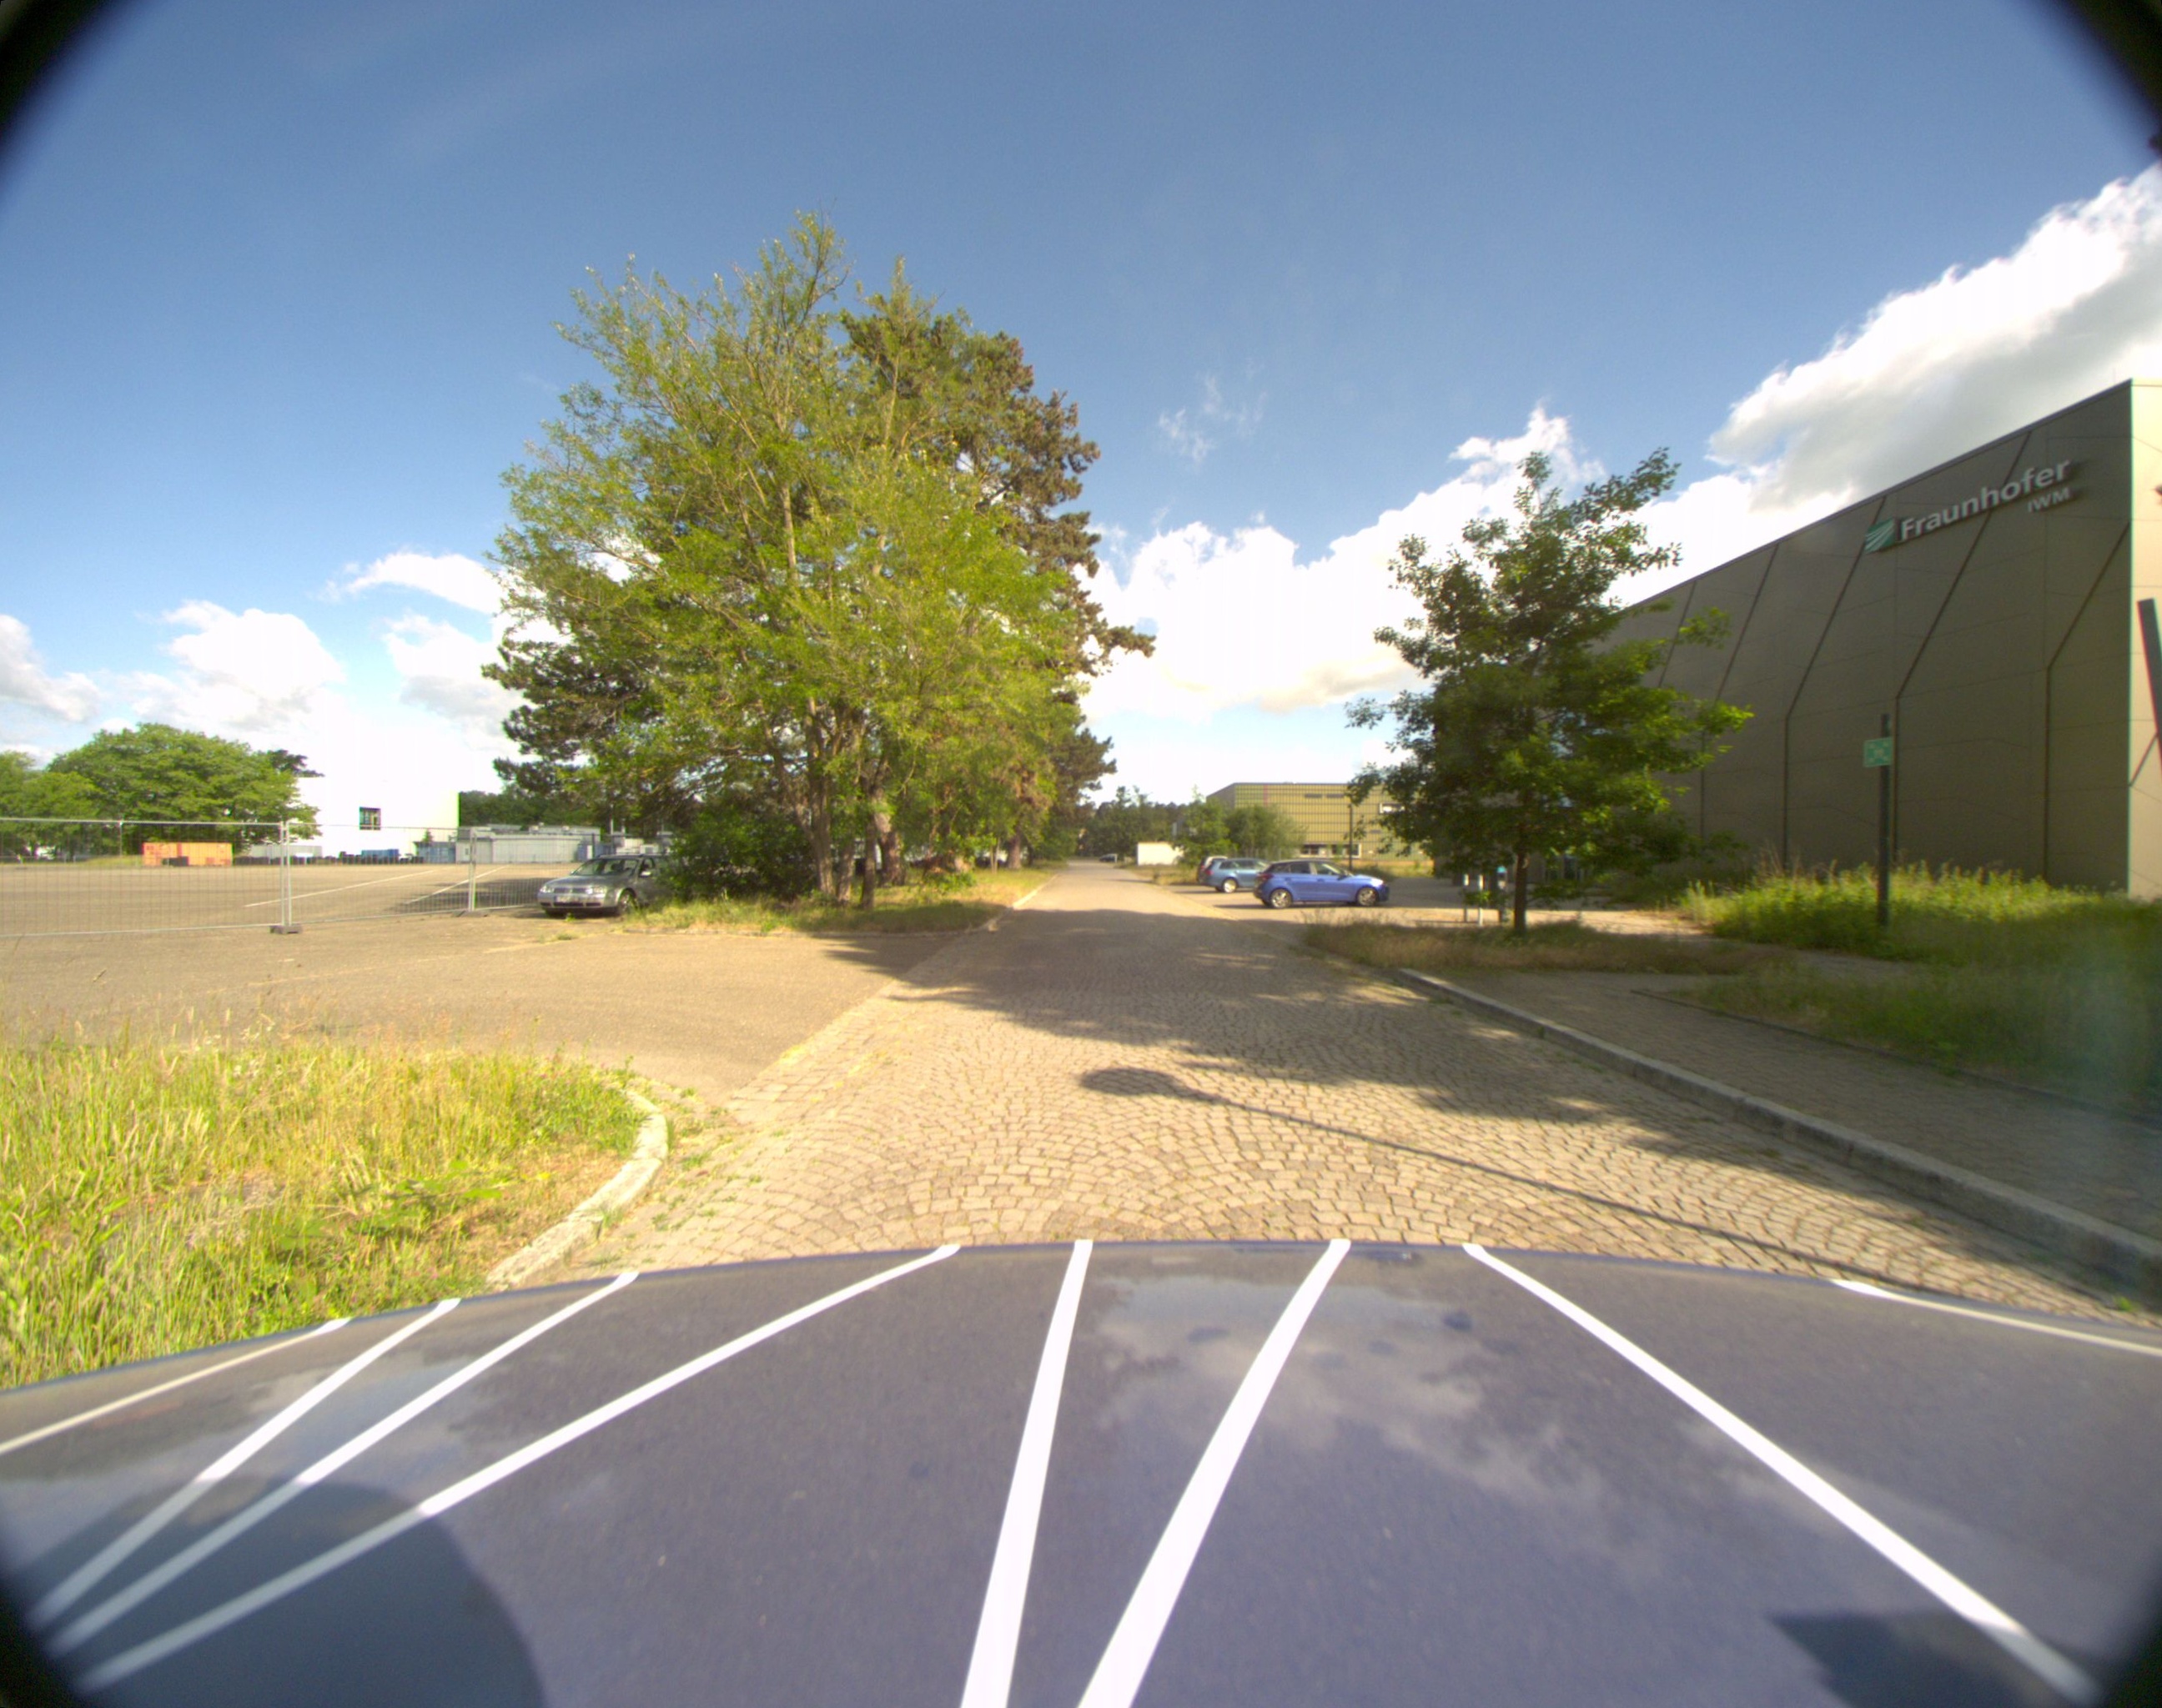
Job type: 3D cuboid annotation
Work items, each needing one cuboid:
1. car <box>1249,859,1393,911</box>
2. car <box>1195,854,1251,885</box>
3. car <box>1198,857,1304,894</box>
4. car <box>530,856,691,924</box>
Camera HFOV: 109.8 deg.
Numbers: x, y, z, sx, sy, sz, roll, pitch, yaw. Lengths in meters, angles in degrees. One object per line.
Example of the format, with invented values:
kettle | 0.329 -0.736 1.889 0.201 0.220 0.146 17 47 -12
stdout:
car | 7.336 0.943 23.484 3.918 1.459 1.735 -1 0 3
car | 7.524 0.830 40.327 2.652 1.559 1.481 -1 1 -1
car | 7.317 0.899 32.979 4.180 1.465 1.734 -1 0 -2
car | -11.180 0.778 18.410 1.579 1.435 3.985 0 0 -3
